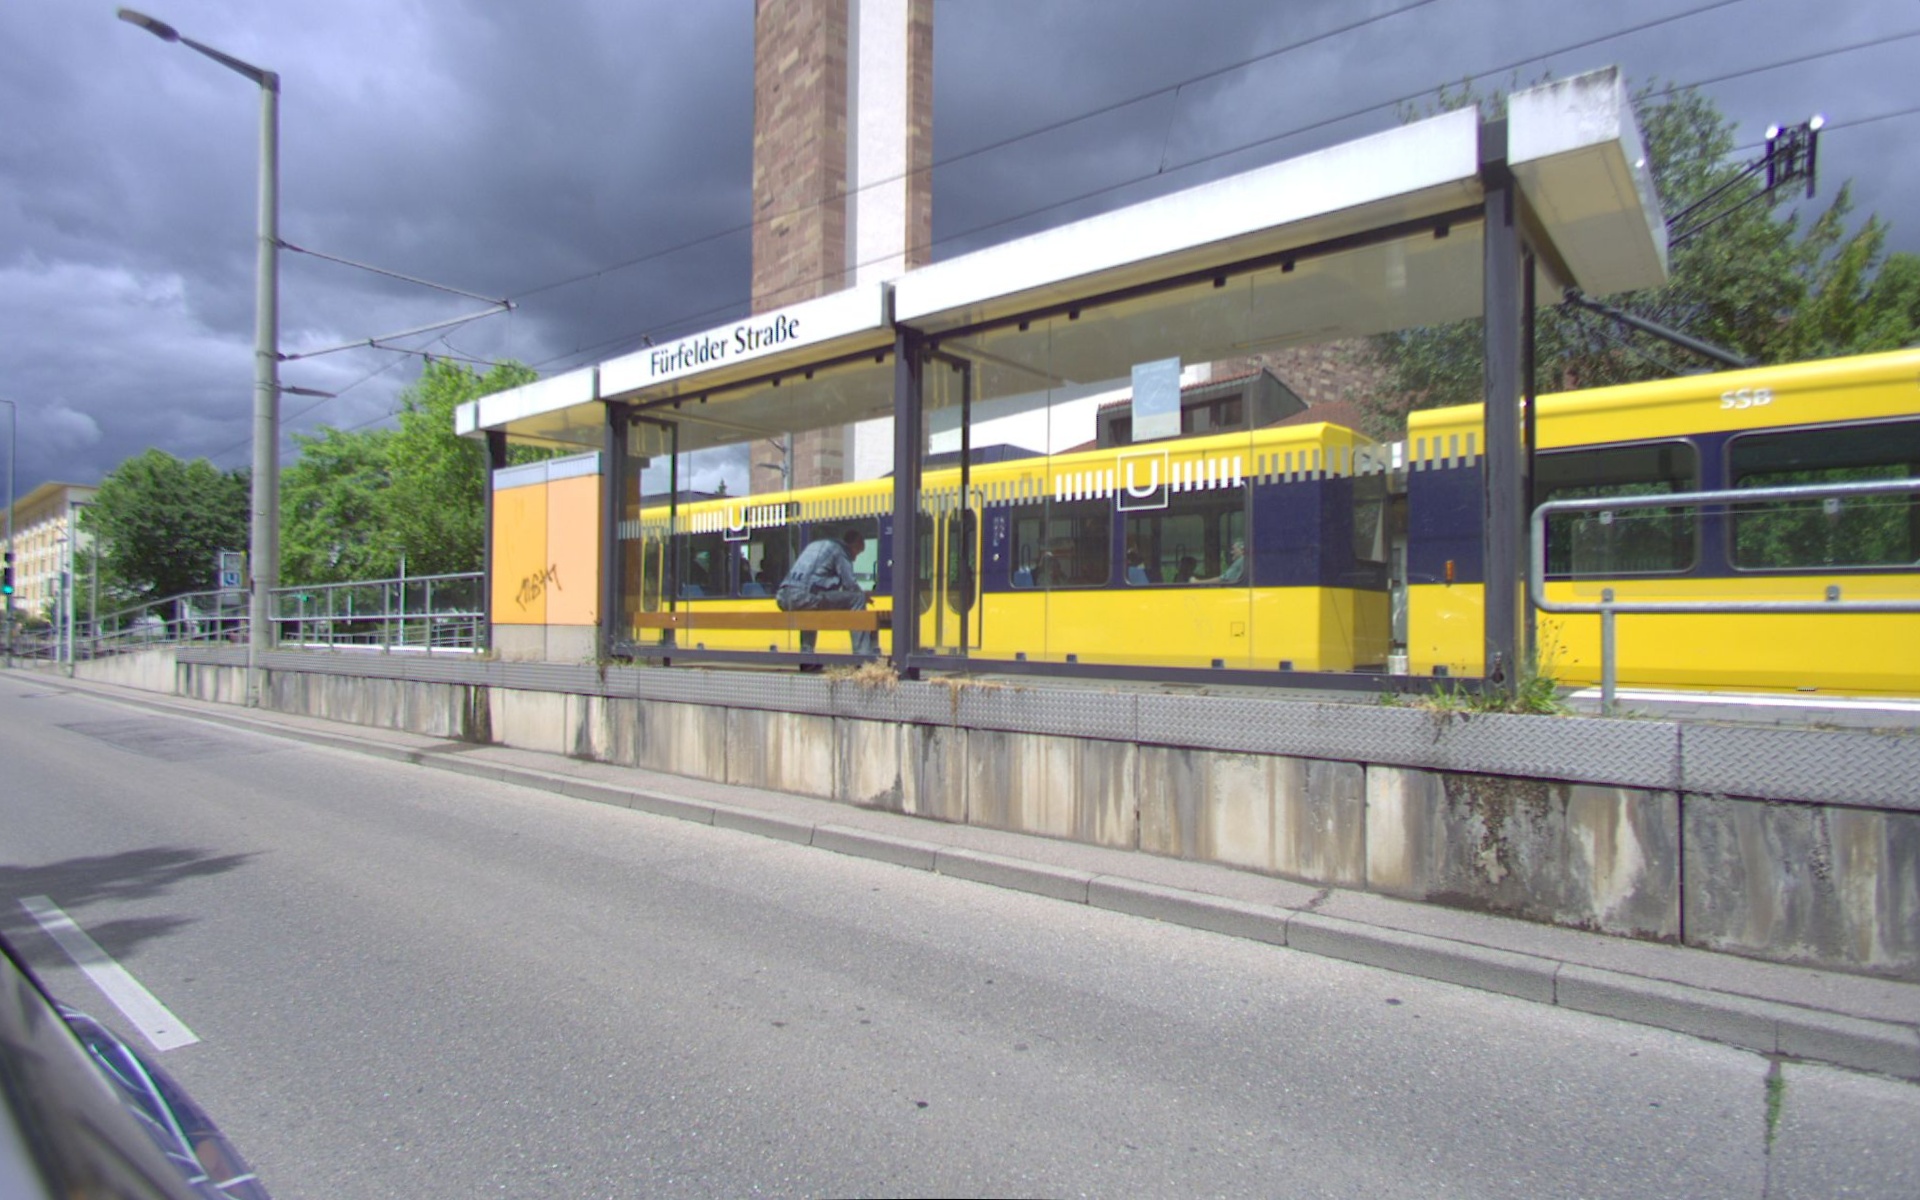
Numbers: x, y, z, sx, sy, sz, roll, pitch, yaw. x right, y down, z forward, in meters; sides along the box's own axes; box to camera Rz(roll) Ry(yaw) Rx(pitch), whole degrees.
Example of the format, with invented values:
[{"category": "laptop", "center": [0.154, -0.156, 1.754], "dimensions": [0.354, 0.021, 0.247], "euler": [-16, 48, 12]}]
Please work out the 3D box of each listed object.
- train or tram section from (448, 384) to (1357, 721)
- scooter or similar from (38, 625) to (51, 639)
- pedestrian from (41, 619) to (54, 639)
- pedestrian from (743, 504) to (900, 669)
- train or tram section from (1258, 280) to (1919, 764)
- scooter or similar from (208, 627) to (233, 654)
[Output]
[{"category": "train or tram section", "center": [-3.170, -0.375, 17.705], "dimensions": [18.808, 3.491, 3.077], "euler": [-1, 0, 40]}, {"category": "scooter or similar", "center": [-71.620, 2.502, 79.141], "dimensions": [0.820, 1.123, 0.598], "euler": [-1, -1, 38]}, {"category": "pedestrian", "center": [-70.909, 2.271, 78.601], "dimensions": [0.873, 1.552, 0.607], "euler": [-1, -1, 38]}, {"category": "pedestrian", "center": [-1.081, -0.077, 7.922], "dimensions": [0.918, 1.196, 0.788], "euler": [-1, -3, 38]}, {"category": "train or tram section", "center": [11.380, -0.643, 5.620], "dimensions": [18.978, 3.491, 3.077], "euler": [-1, 0, 40]}, {"category": "scooter or similar", "center": [-35.370, 1.955, 48.381], "dimensions": [1.400, 1.246, 0.643], "euler": [-2, -1, 40]}]
